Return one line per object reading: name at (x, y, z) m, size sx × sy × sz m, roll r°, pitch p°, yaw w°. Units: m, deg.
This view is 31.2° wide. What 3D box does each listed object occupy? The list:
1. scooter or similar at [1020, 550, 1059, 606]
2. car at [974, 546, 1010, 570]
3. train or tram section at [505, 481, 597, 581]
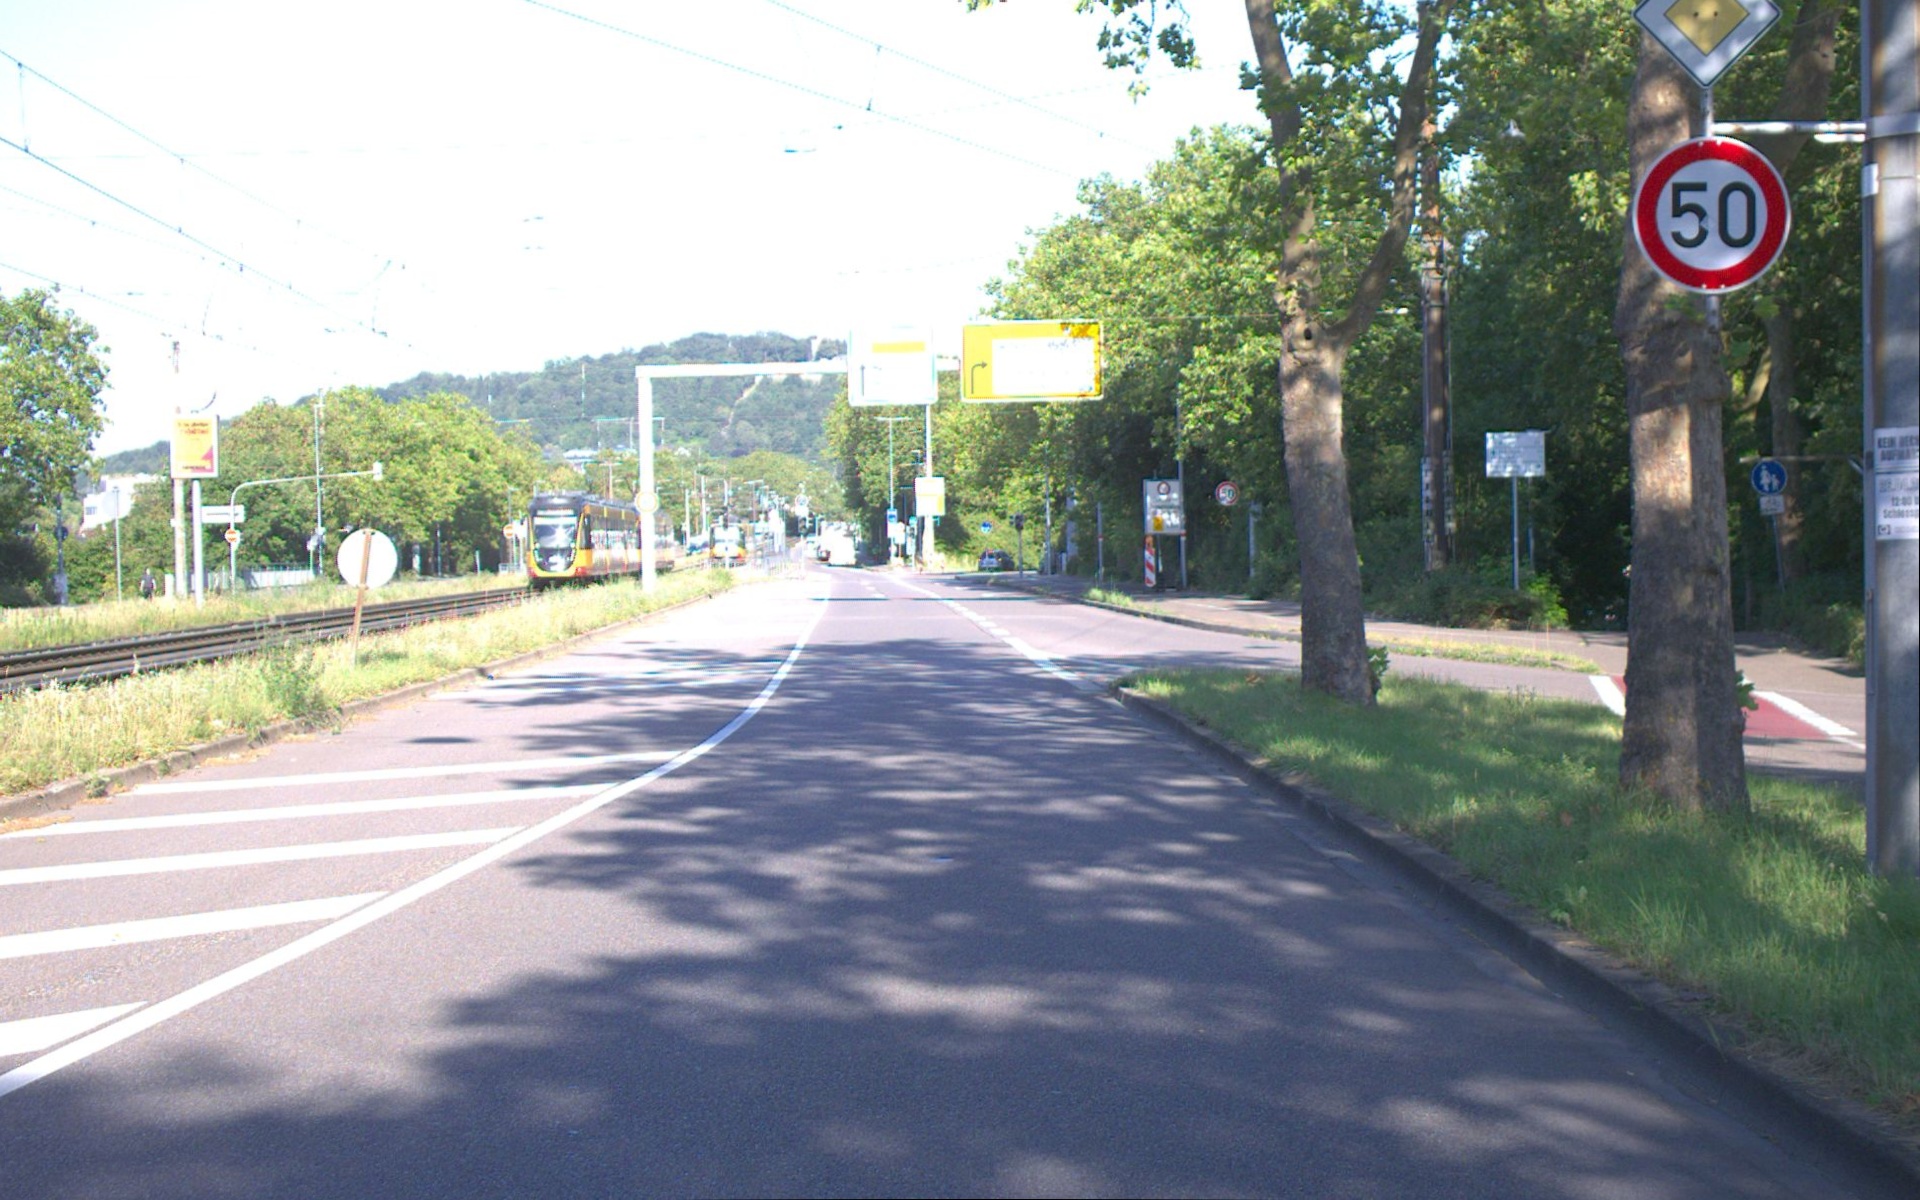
scooter or similar at (3.929, -1.121, 169.823) m, size 1.681 × 2.706 × 4.869 m, roll 0°, pitch 1°, yaw -1°
car at (2.119, -2.746, 223.791) m, size 2.086 × 1.560 × 3.955 m, roll 0°, pitch 1°, yaw 4°
train or tram section at (-16.533, -2.762, 139.722) m, size 2.804 × 3.889 × 12.334 m, roll 0°, pitch 1°, yaw -2°
